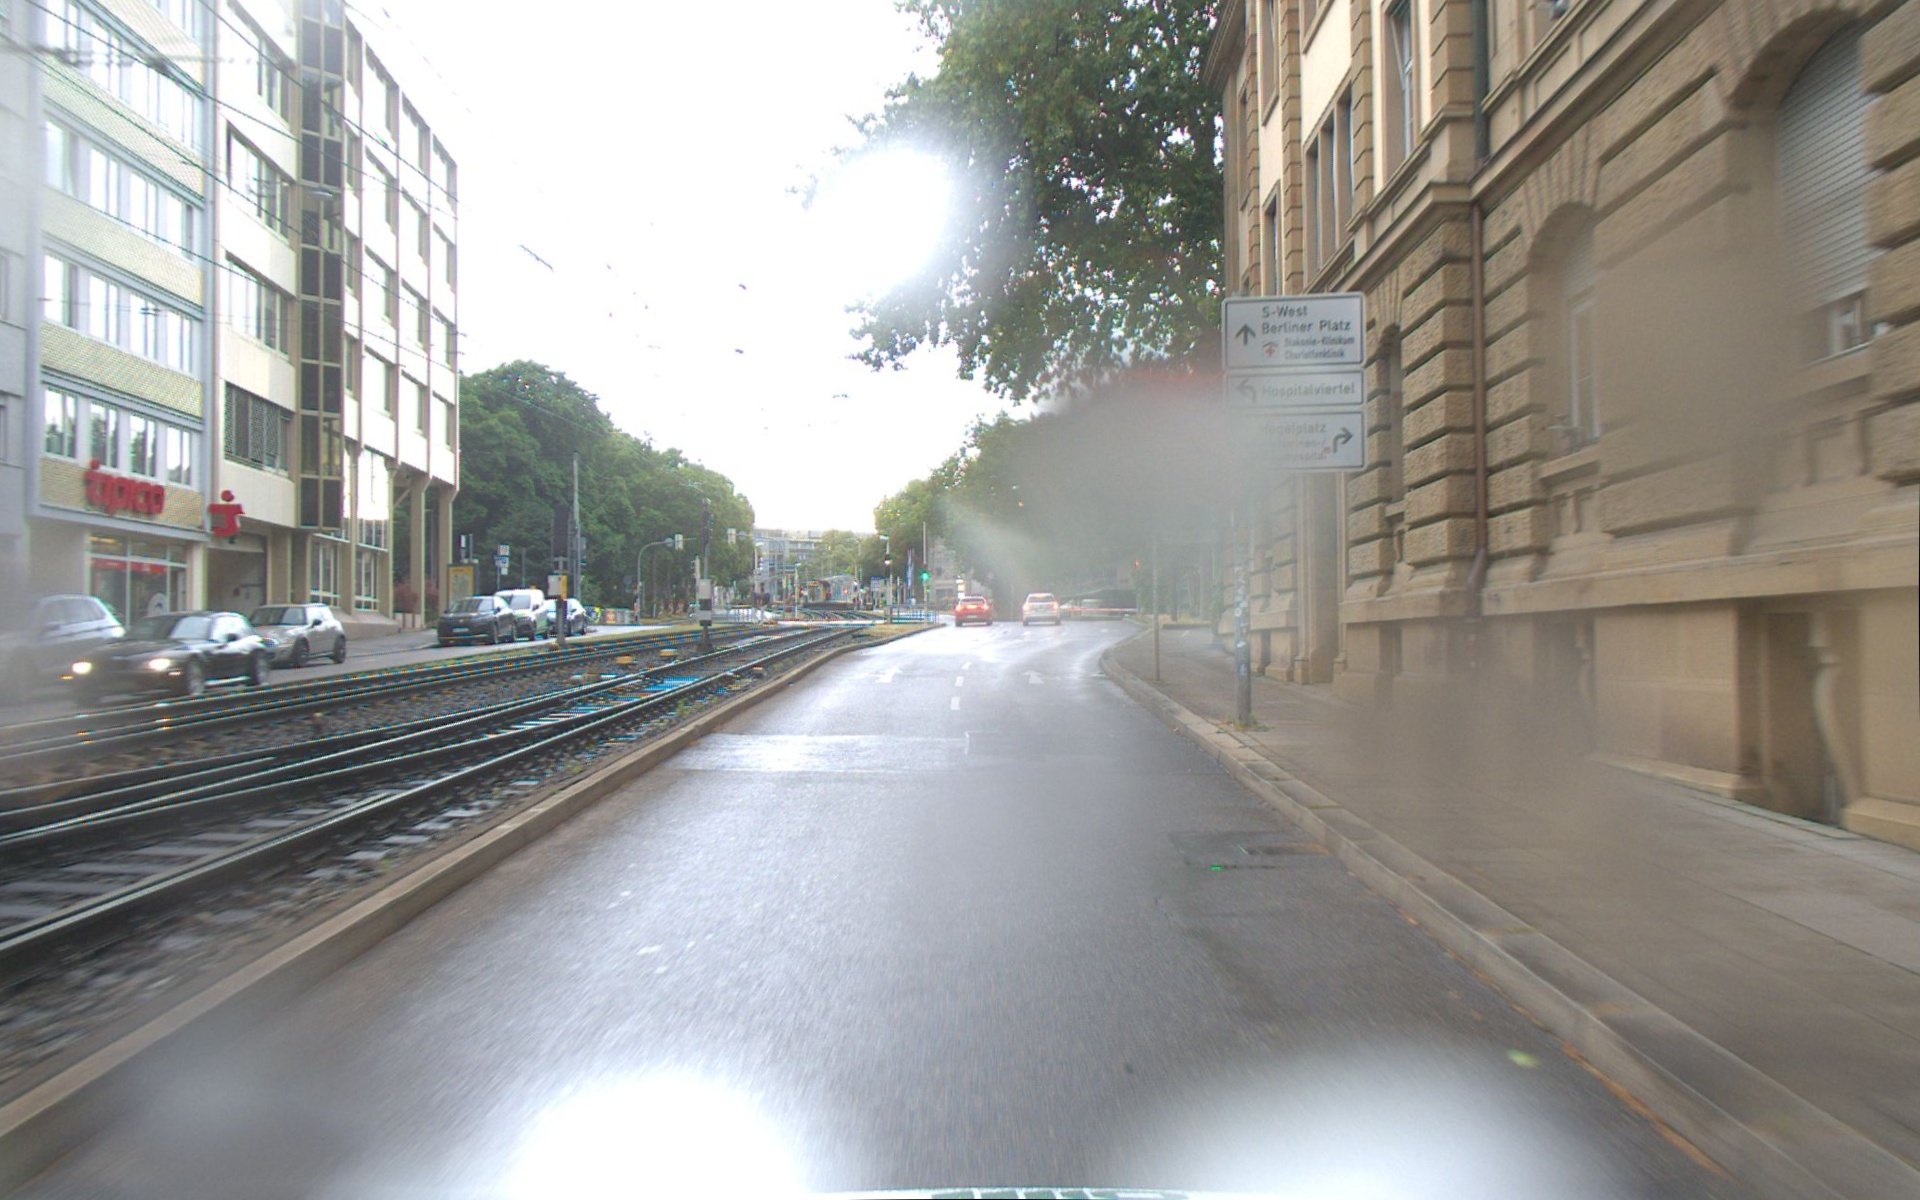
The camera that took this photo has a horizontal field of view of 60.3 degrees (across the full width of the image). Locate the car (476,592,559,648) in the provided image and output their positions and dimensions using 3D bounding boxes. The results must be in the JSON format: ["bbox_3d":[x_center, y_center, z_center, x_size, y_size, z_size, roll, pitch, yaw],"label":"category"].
[{"bbox_3d":[-15.918,0.751,59.677,1.954,1.882,4.691,1,-1,-4],"label":"car"}]

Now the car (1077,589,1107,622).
[{"bbox_3d":[13.356,0.614,167.341,2.493,3.189,5.029,1,-1,-1],"label":"car"}]

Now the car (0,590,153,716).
[{"bbox_3d":[-14.526,0.737,25.460,1.953,1.703,4.694,2,0,-1],"label":"car"}]

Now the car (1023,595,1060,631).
[{"bbox_3d":[3.810,0.586,77.044,1.644,1.604,4.255,-1,0,4],"label":"car"}]

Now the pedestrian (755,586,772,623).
[{"bbox_3d":[-9.636,0.224,81.037,0.629,1.819,0.806,2,-2,-20],"label":"pedestrian"}]

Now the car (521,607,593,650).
[{"bbox_3d":[-15.990,1.132,65.850,1.954,1.610,4.545,1,-1,-4],"label":"car"}]

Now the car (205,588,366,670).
[{"bbox_3d":[-15.235,0.662,37.653,1.954,1.703,4.691,1,-1,-4],"label":"car"}]

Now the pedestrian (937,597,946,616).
[{"bbox_3d":[-1.904,0.660,169.370,0.742,1.855,0.699,2,-2,-9],"label":"pedestrian"}]

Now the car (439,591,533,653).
[{"bbox_3d":[-15.406,0.733,54.018,1.954,1.882,4.691,1,-1,-4],"label":"car"}]

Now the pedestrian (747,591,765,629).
[{"bbox_3d":[-10.100,0.497,81.839,0.630,1.819,0.804,2,-2,-24],"label":"pedestrian"}]

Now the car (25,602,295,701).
[{"bbox_3d":[-11.603,0.738,24.388,1.954,1.277,4.691,-1,-1,-4],"label":"car"}]

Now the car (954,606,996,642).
[{"bbox_3d":[0.763,1.207,80.745,1.939,1.669,4.417,1,-1,1],"label":"car"}]
